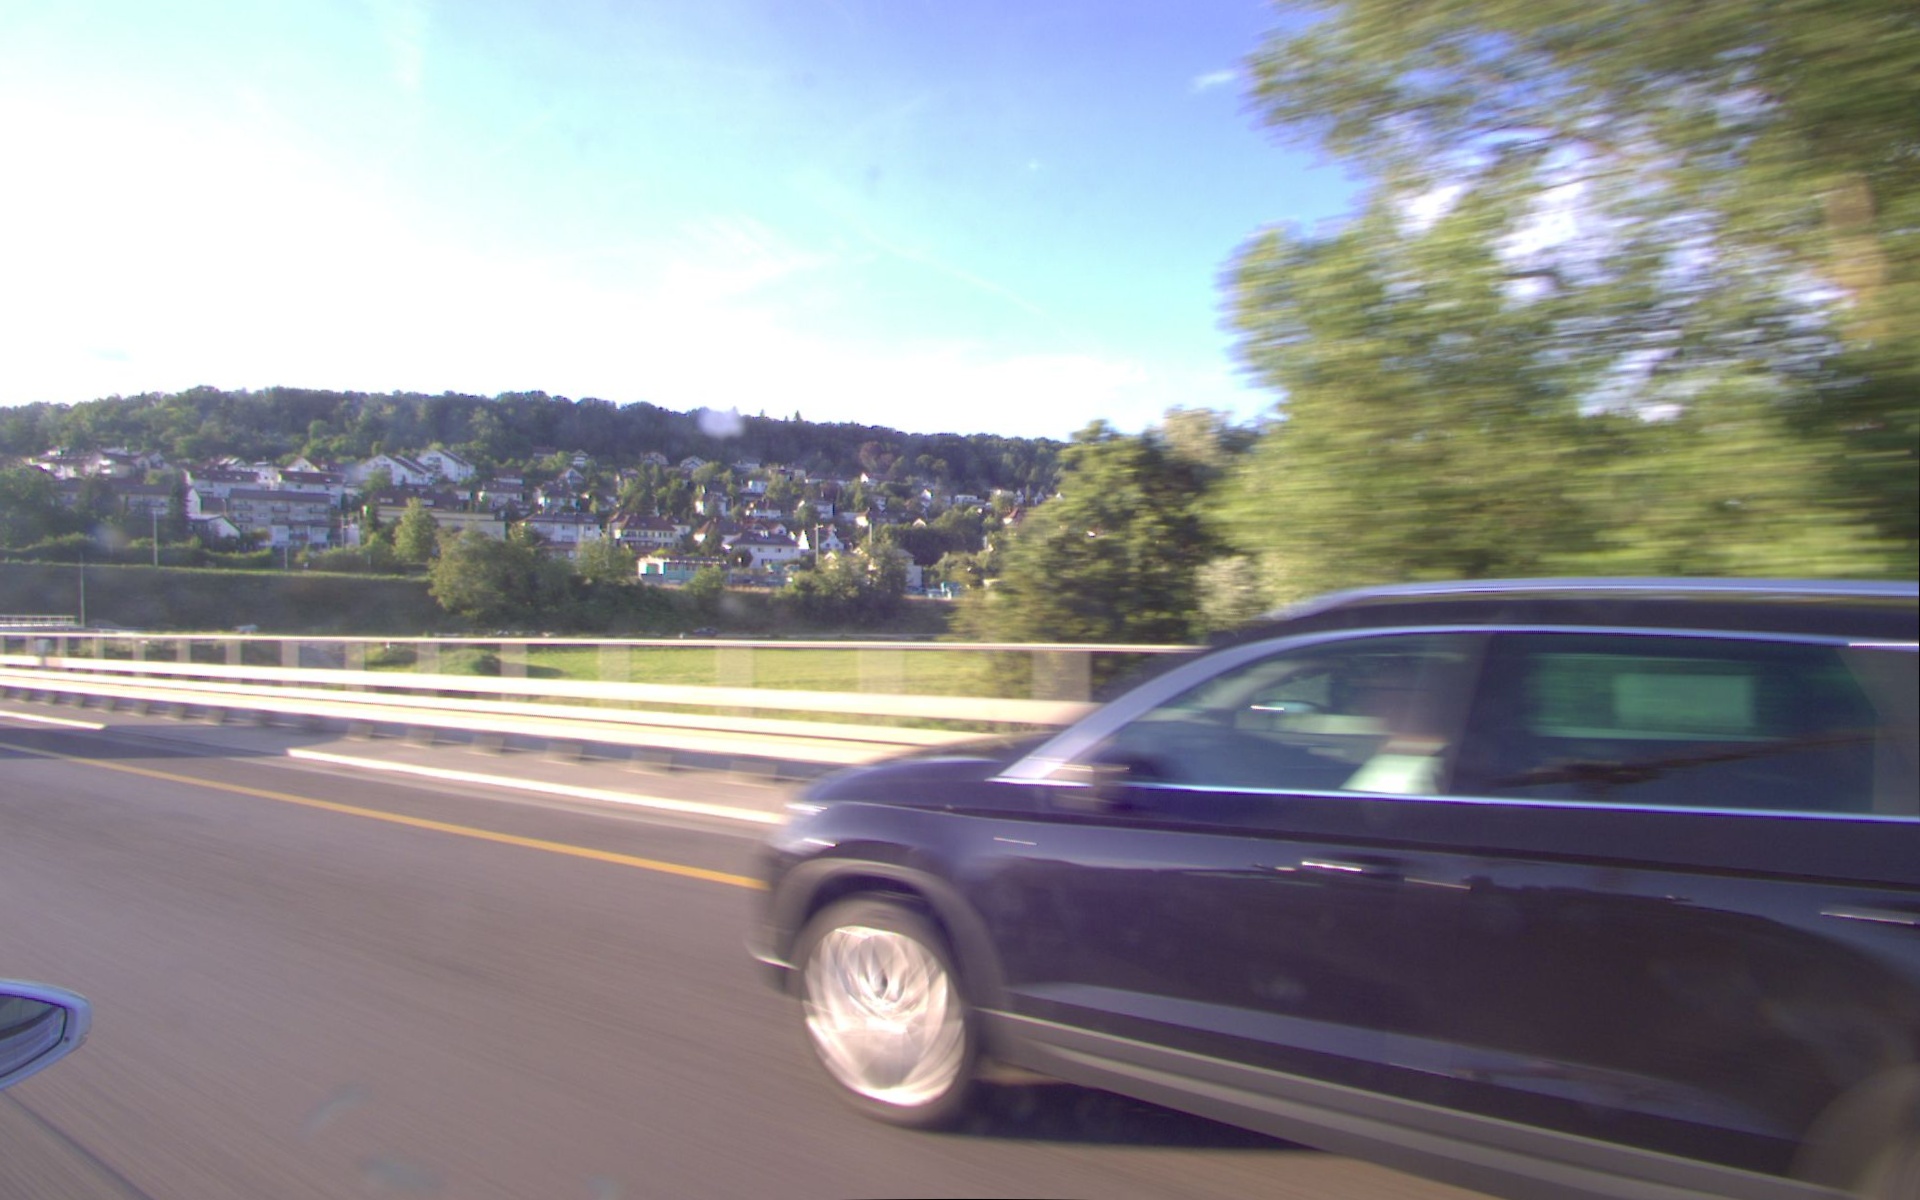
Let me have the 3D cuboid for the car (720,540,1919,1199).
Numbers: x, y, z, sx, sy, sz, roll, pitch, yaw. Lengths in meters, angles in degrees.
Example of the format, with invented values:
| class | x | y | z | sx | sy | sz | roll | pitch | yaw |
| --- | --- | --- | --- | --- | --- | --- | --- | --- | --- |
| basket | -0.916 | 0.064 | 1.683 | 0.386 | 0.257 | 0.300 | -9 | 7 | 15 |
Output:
| class | x | y | z | sx | sy | sz | roll | pitch | yaw |
| --- | --- | --- | --- | --- | --- | --- | --- | --- | --- |
| car | 1.779 | 0.729 | 2.758 | 4.894 | 1.620 | 1.872 | 0 | -1 | 32 |
